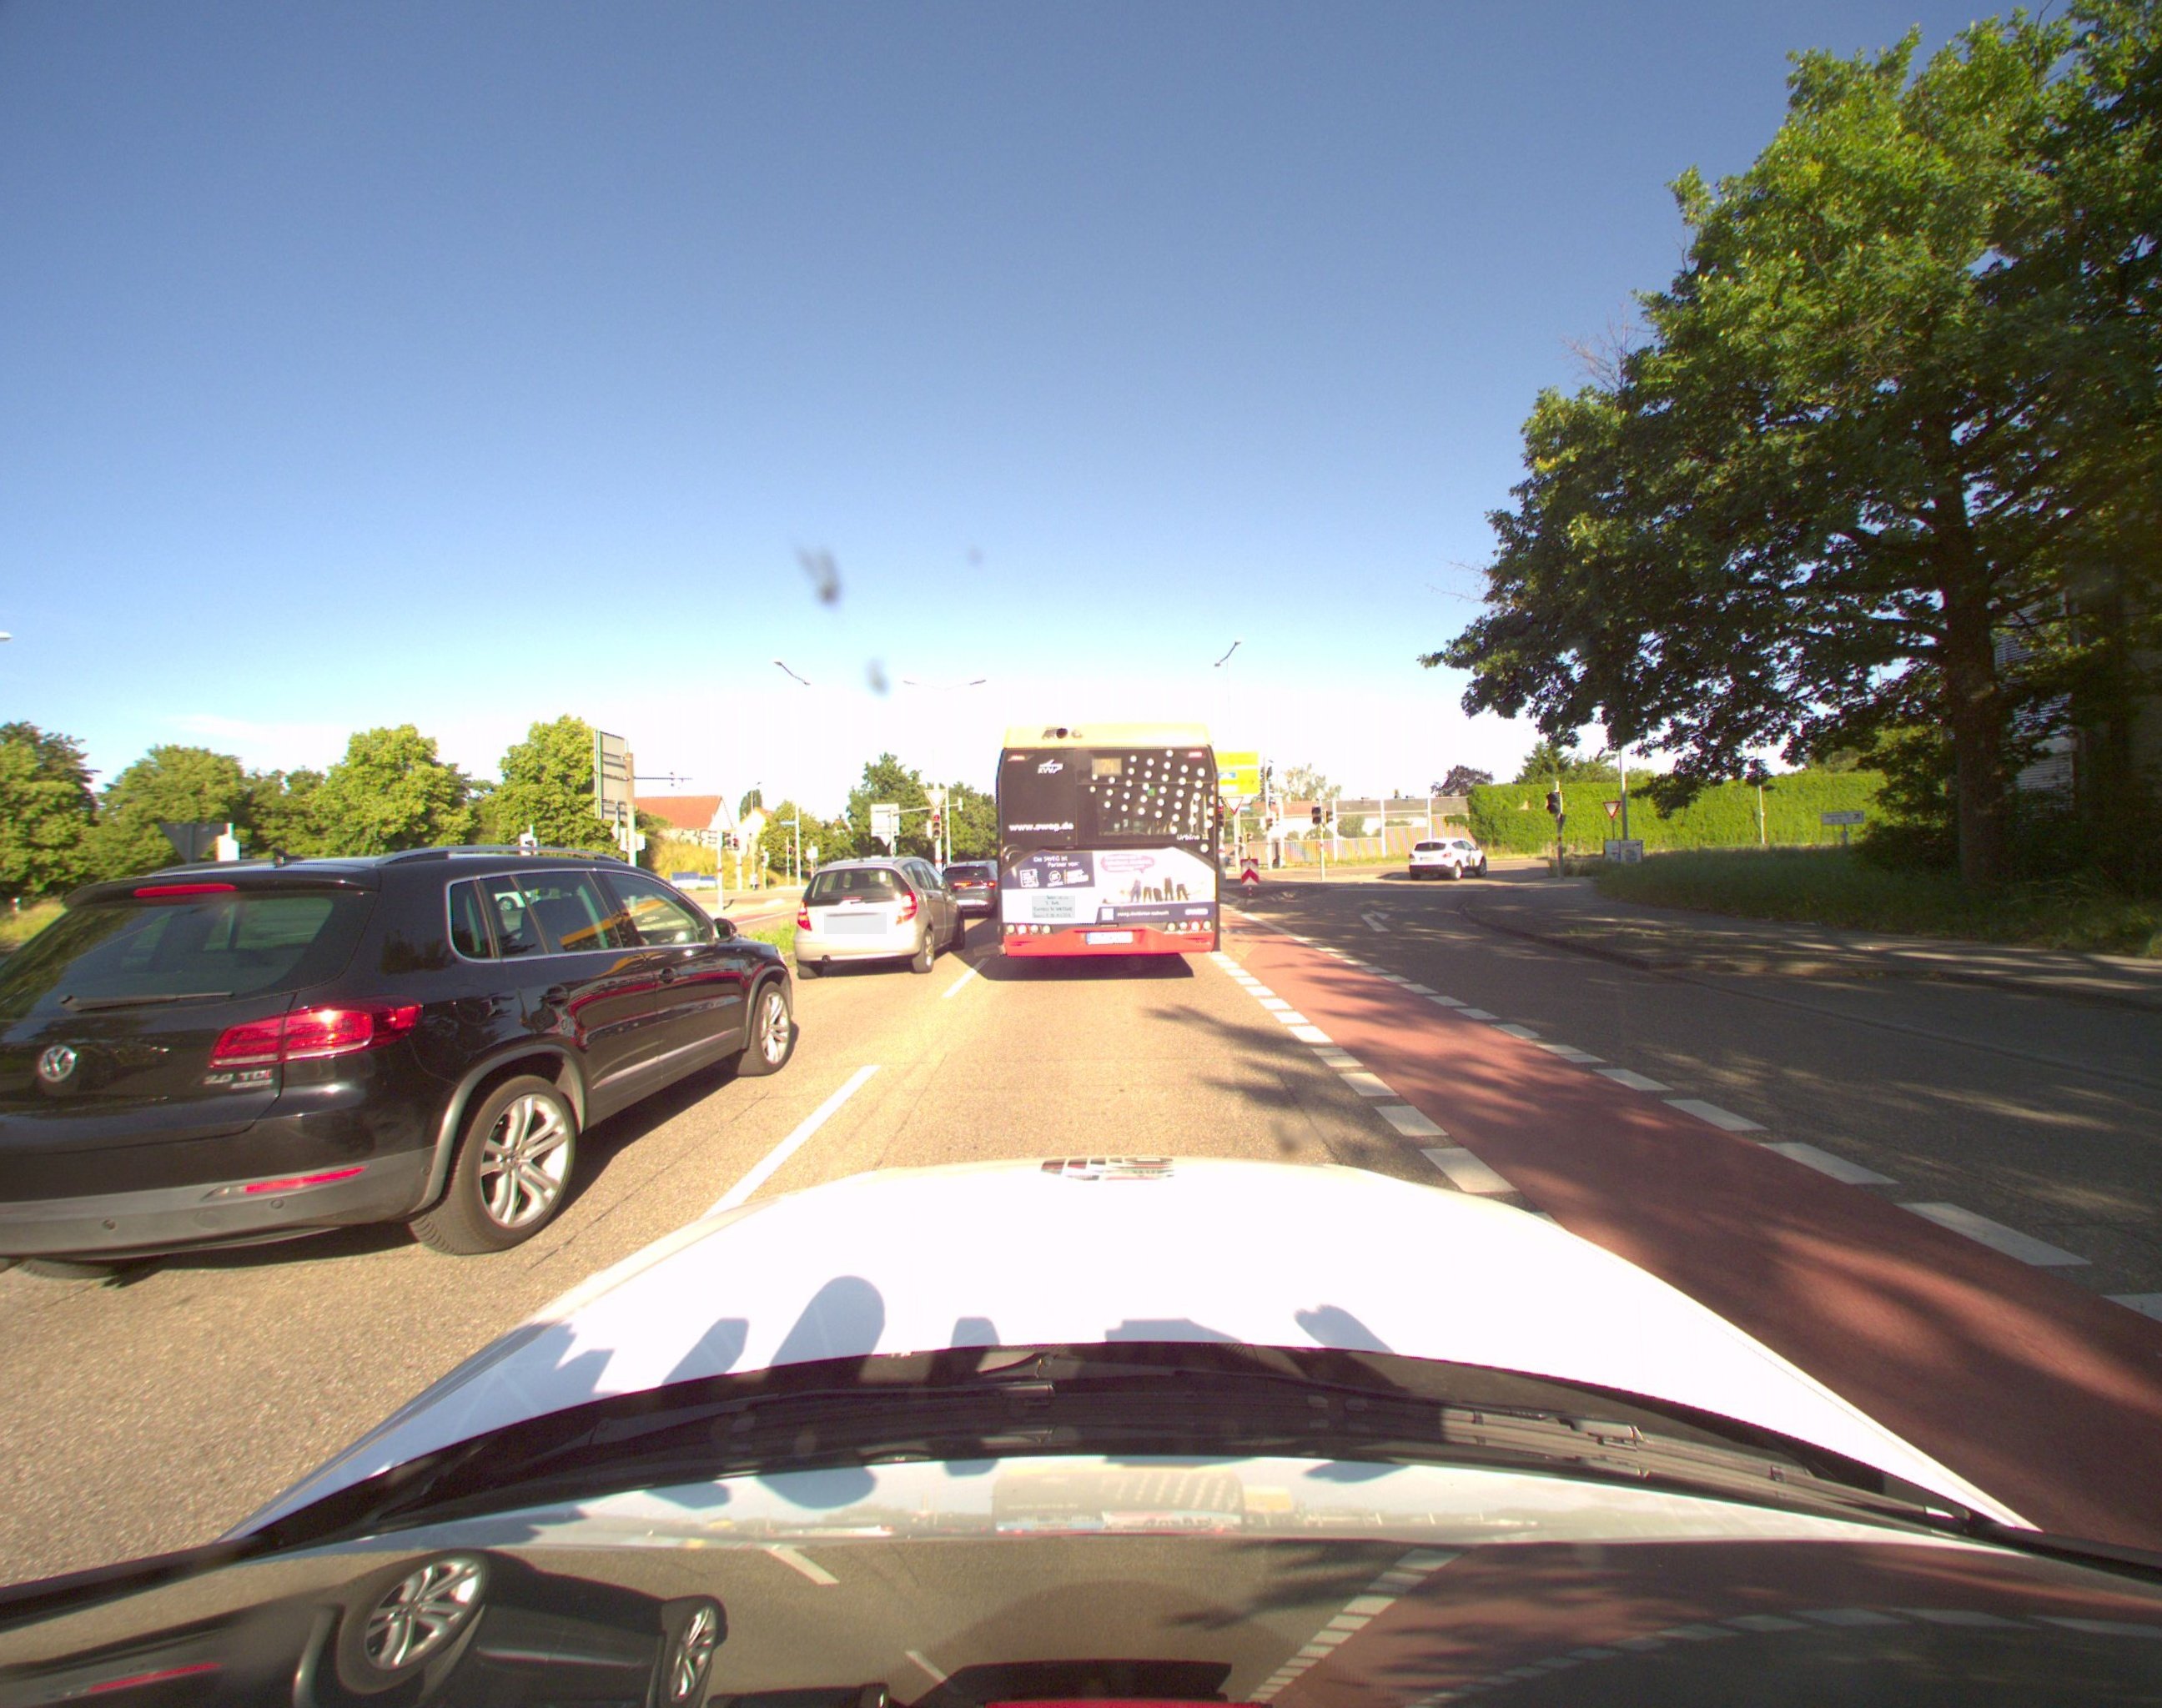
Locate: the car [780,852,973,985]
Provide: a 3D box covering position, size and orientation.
[{"bbox_3d":[-2.875,0.822,12.384,1.755,1.589,4.001,-3,0,1],"label":"car"}]

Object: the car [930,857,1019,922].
[{"bbox_3d":[-2.689,0.855,21.318,1.686,1.458,3.751,-3,0,1],"label":"car"}]

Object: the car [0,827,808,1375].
[{"bbox_3d":[-3.171,0.797,4.558,1.766,1.653,4.001,-3,0,1],"label":"car"}]

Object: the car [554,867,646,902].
[{"bbox_3d":[-24.572,1.538,41.675,3.577,1.560,1.747,-2,0,-5],"label":"car"}]

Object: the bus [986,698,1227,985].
[{"bbox_3d":[0.523,-0.166,15.022,2.632,3.167,11.867,-1,0,2],"label":"bus"}]

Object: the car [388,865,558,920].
[{"bbox_3d":[-25.631,1.589,34.503,5.375,2.118,2.178,-1,-1,-4],"label":"car"}]

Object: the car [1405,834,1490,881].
[{"bbox_3d":[14.372,0.100,31.796,1.702,1.607,4.092,1,3,45],"label":"car"}]
